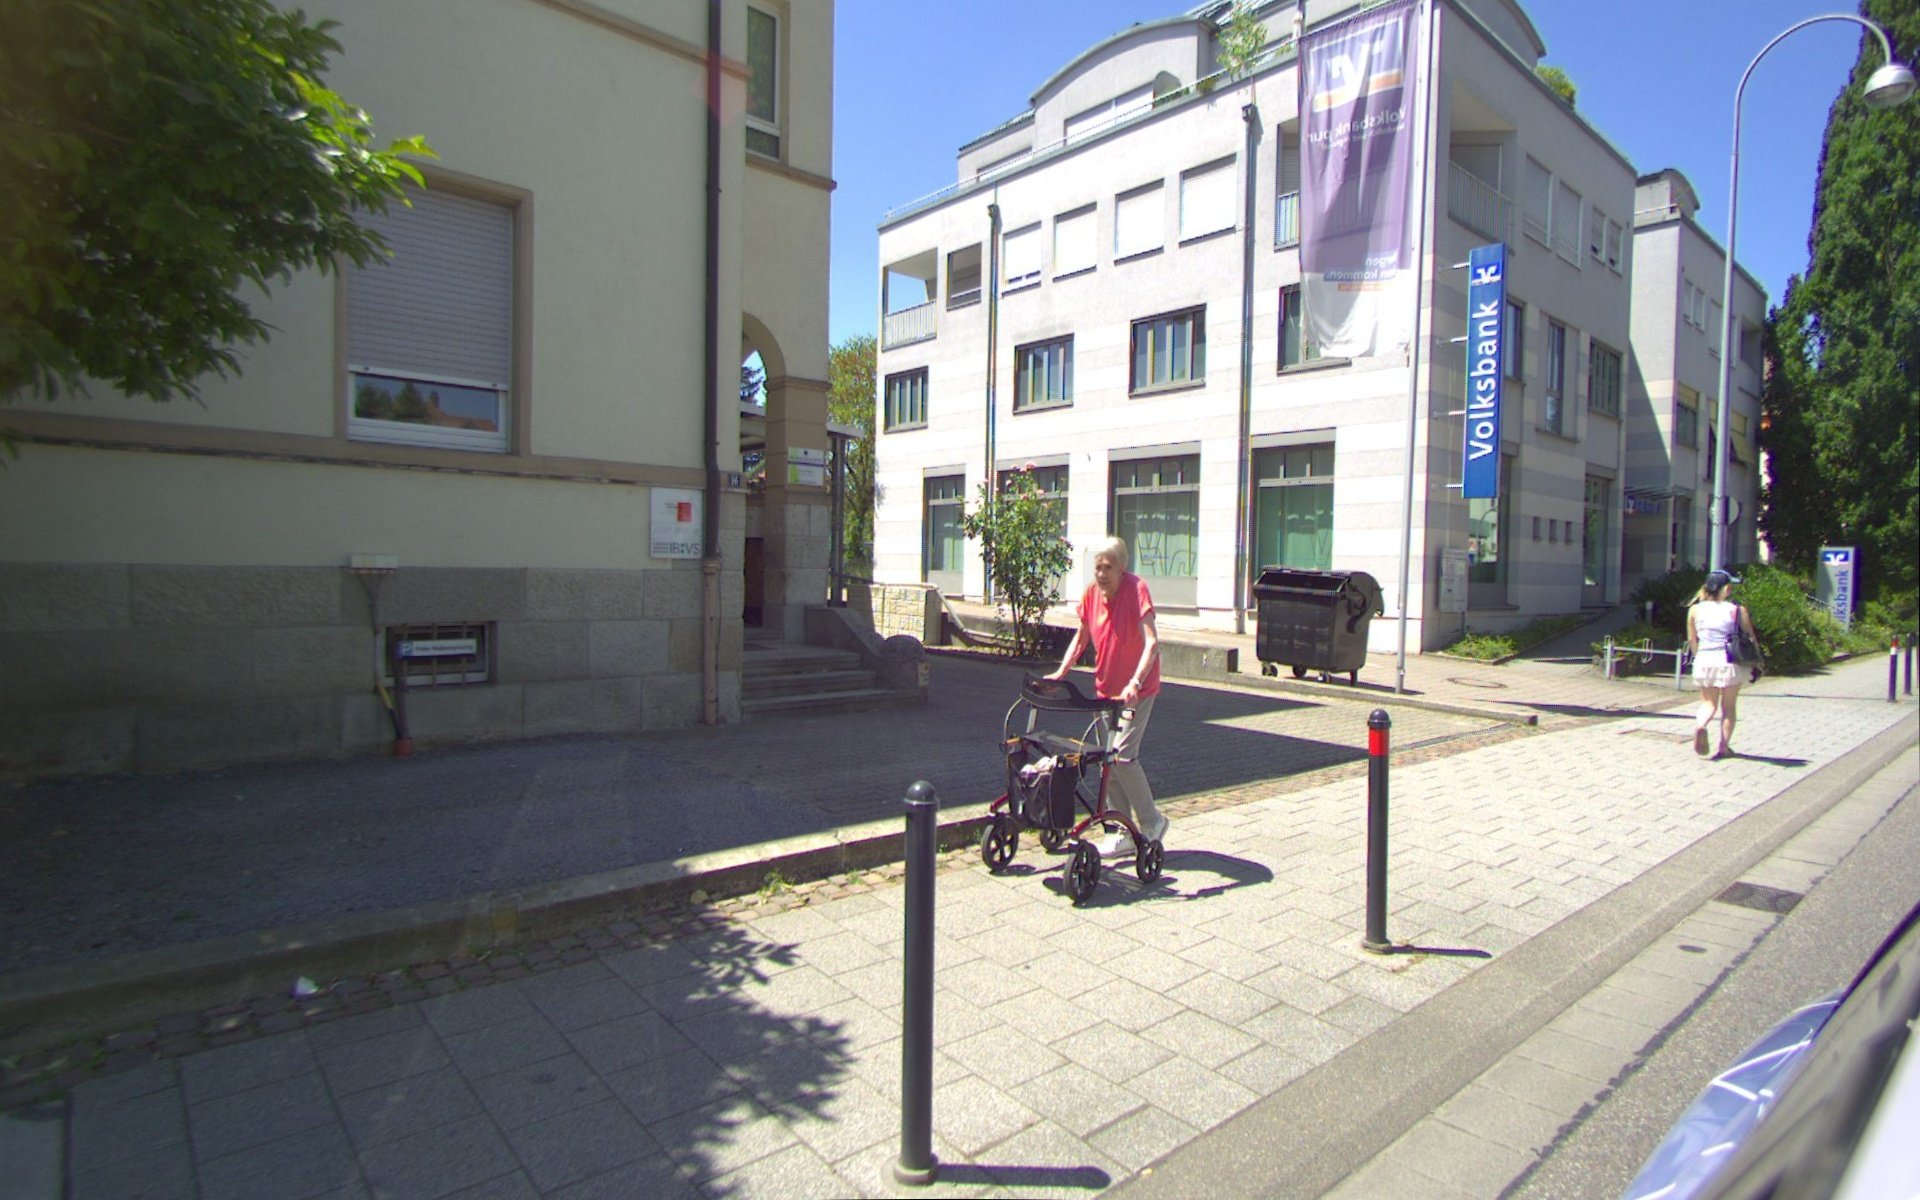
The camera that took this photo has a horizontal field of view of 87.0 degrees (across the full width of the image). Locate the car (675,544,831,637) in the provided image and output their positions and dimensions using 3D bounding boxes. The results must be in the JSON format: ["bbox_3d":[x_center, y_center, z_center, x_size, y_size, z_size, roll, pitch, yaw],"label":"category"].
[{"bbox_3d":[-4.210,-0.256,20.118,1.775,1.627,4.005,0,3,-31],"label":"car"}]

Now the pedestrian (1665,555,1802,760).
[{"bbox_3d":[6.691,0.458,8.757,0.770,1.646,0.701,0,5,-42],"label":"pedestrian"}]

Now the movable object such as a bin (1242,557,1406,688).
[{"bbox_3d":[4.602,0.239,12.826,1.356,1.476,1.372,0,5,-39],"label":"movable object such as a bin"}]

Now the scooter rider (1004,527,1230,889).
[{"bbox_3d":[0.755,0.450,4.883,0.757,1.567,0.717,0,2,-43],"label":"scooter rider"}]

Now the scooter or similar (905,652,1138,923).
[{"bbox_3d":[0.268,0.762,4.456,0.741,0.975,0.664,0,3,-41],"label":"scooter or similar"}]
